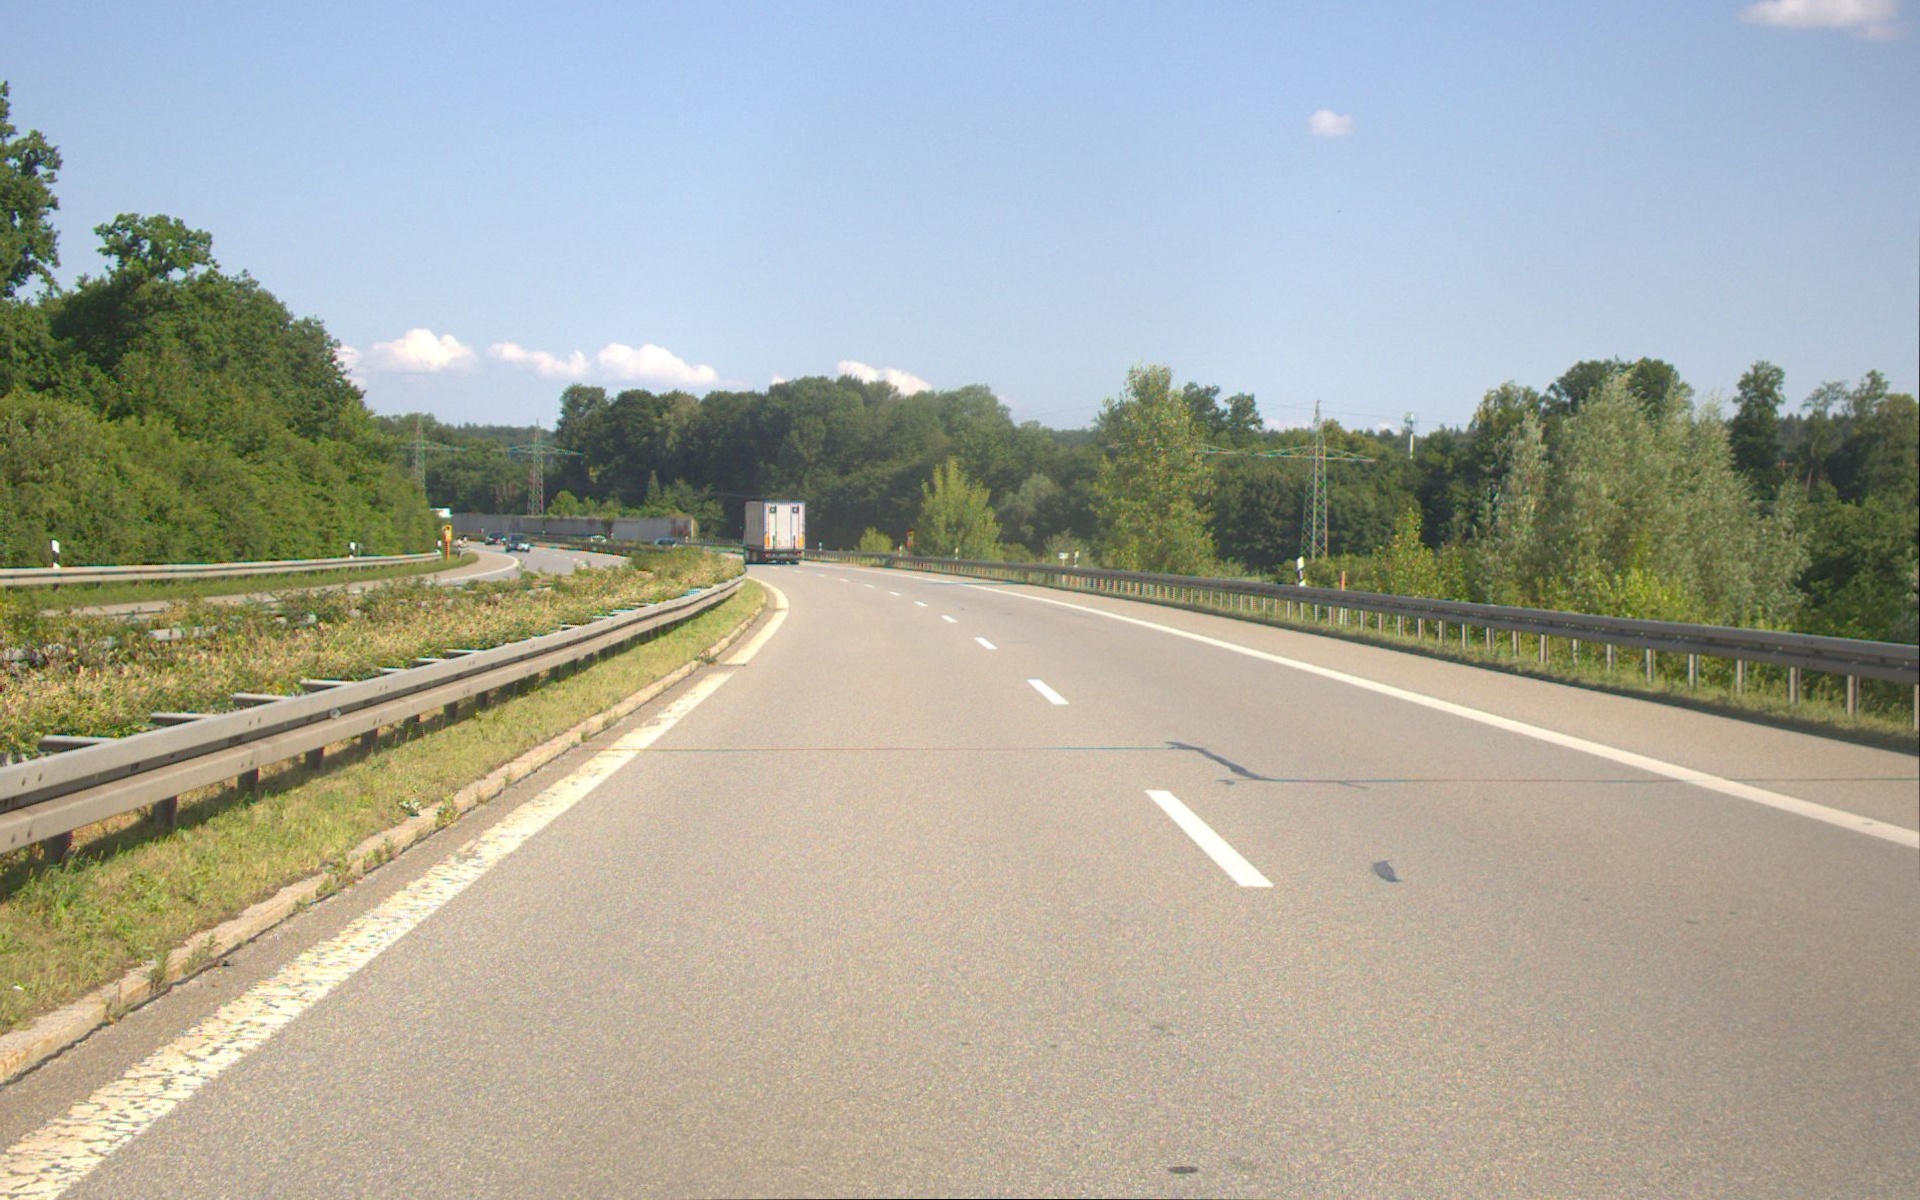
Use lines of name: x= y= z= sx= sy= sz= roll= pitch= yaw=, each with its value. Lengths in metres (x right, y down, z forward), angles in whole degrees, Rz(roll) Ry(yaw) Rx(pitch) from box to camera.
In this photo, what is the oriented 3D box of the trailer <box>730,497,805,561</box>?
trailer: x=-12.513 y=-4.624 z=222.191 sx=2.883 sy=4.052 sz=12.424 roll=0 pitch=1 yaw=-12
